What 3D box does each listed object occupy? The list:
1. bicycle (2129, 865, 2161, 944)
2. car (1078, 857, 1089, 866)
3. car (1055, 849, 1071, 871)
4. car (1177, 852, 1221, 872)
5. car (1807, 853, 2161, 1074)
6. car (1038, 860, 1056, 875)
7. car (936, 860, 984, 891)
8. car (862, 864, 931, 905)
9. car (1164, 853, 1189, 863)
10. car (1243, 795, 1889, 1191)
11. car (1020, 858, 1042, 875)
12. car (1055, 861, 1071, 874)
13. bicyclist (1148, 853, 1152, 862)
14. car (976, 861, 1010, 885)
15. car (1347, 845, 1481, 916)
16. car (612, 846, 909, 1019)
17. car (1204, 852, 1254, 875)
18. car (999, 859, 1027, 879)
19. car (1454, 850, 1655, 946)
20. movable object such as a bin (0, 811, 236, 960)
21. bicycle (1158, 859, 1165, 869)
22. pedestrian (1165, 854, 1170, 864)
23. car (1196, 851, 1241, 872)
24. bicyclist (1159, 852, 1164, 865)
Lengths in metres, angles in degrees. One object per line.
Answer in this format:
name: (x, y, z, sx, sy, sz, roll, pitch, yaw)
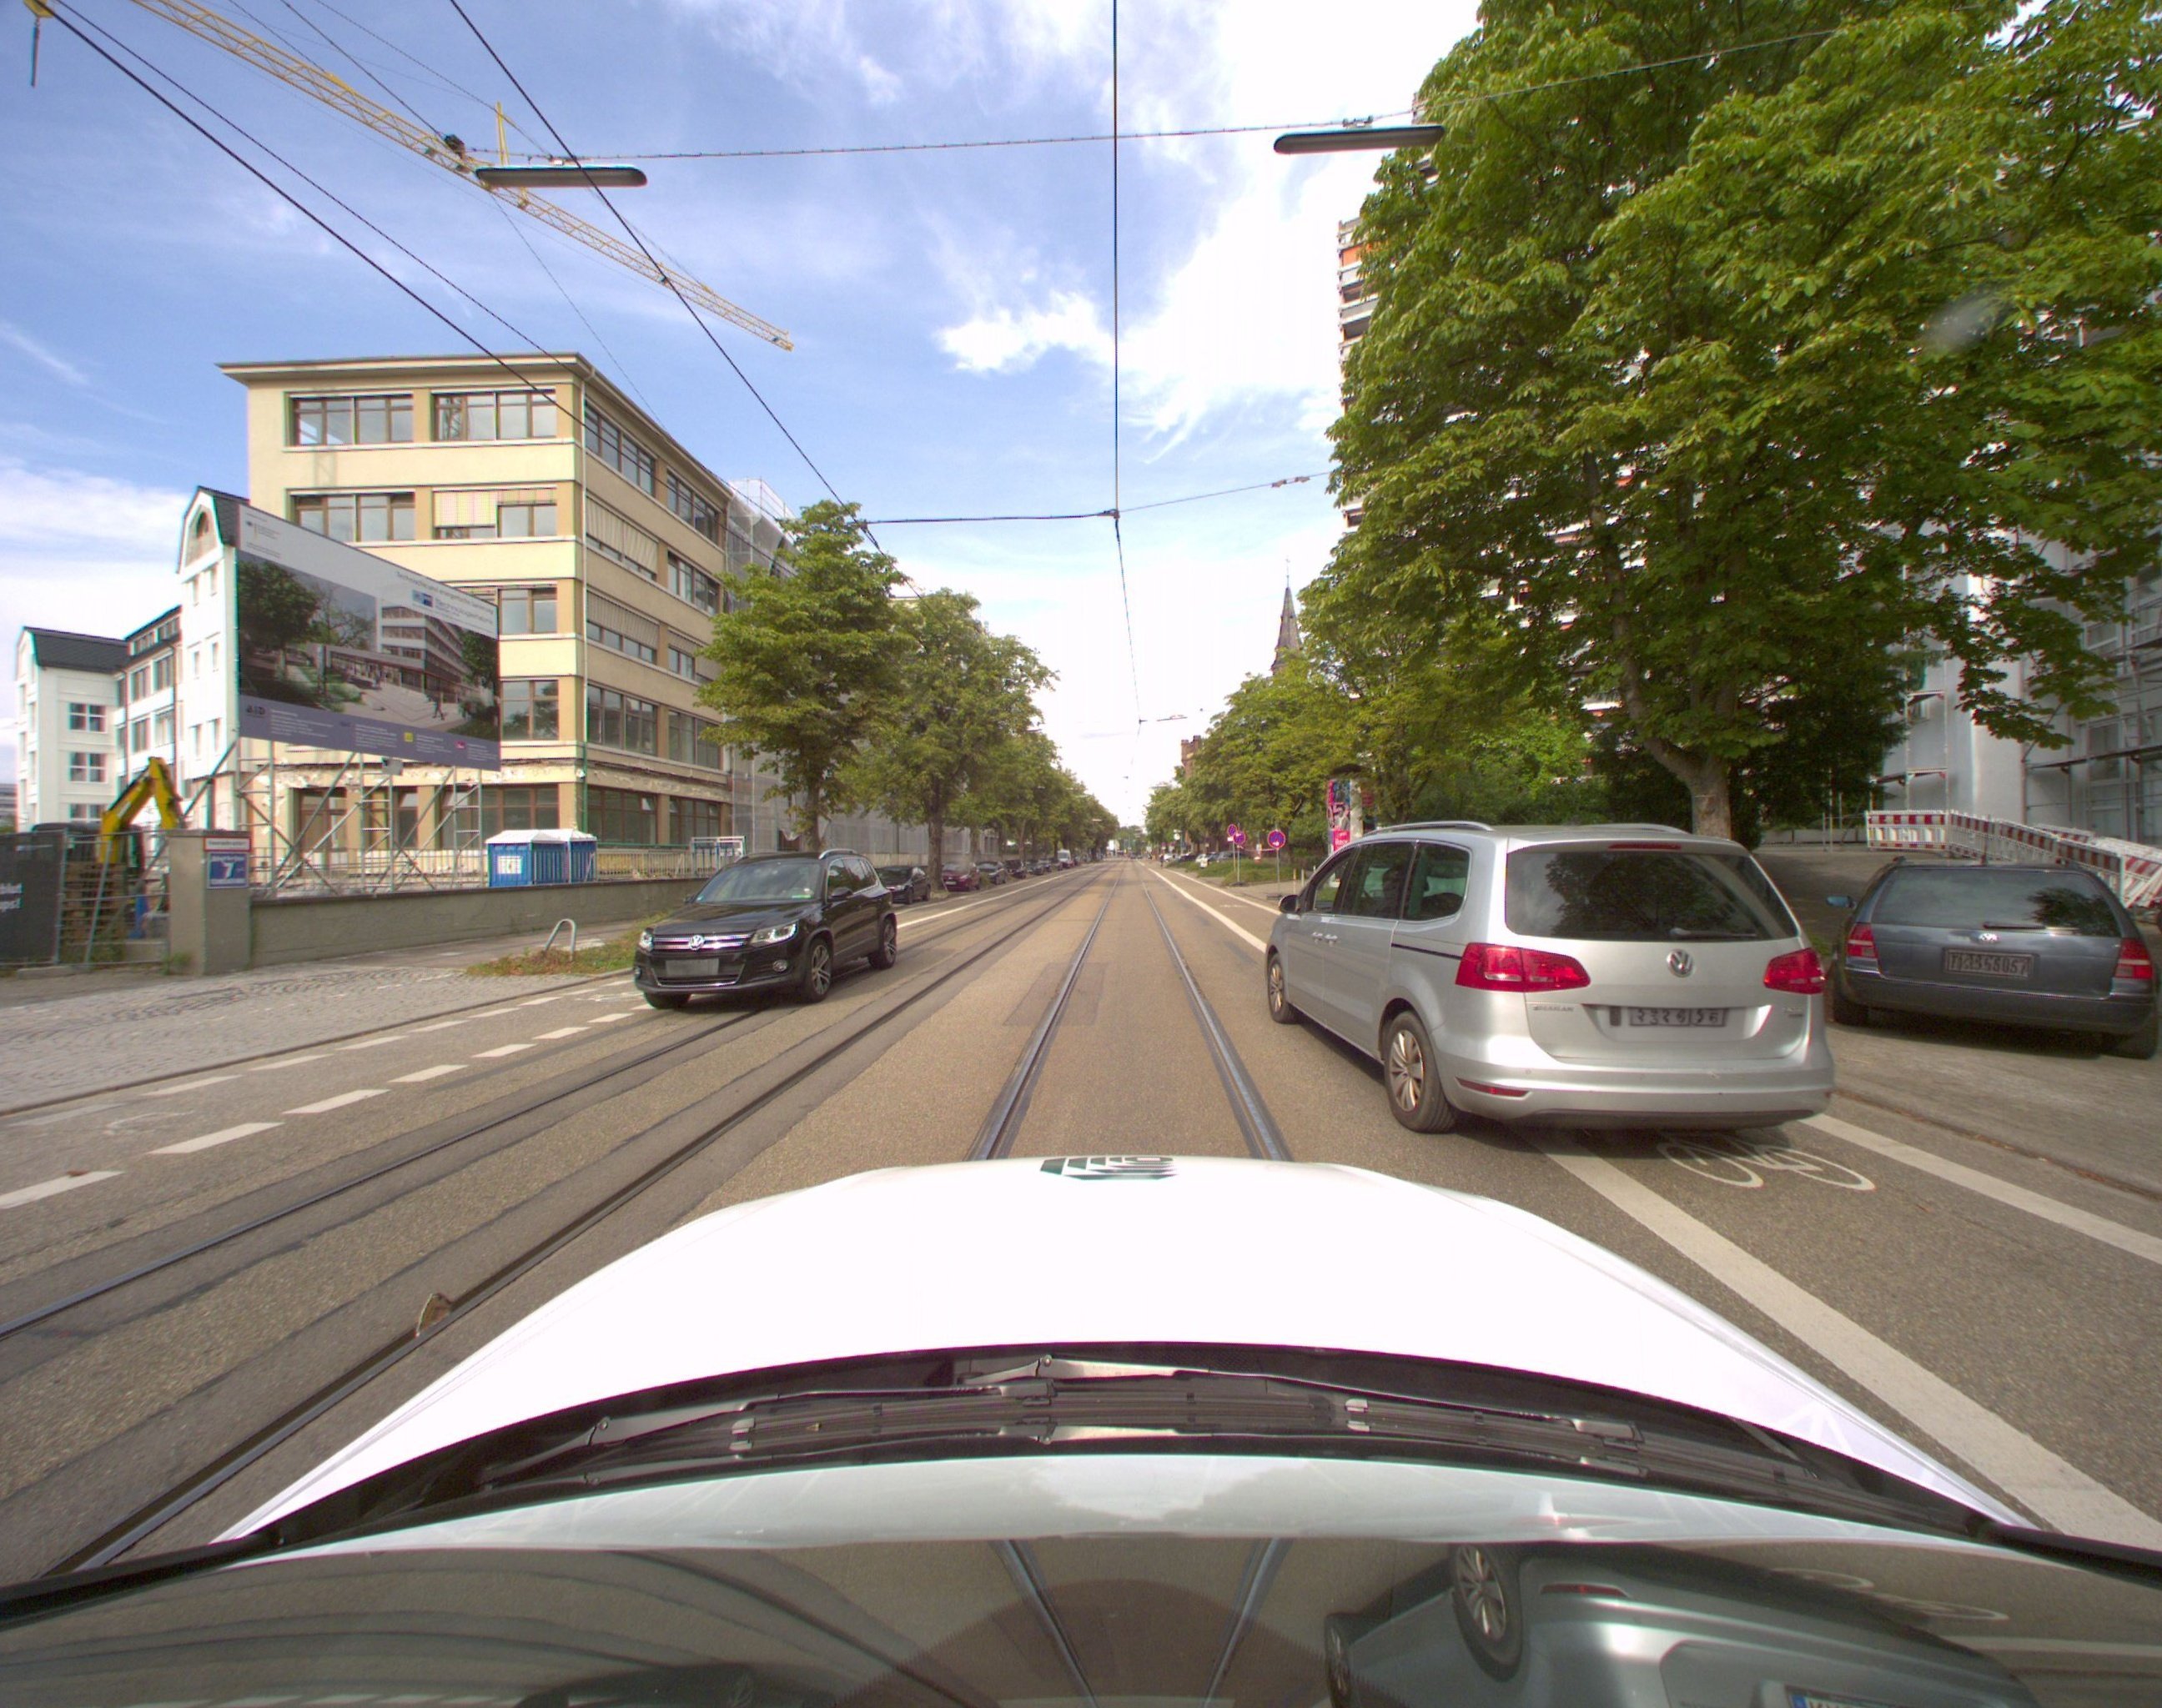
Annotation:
bicycle: (15.213, 0.670, 10.526, 1.952, 1.043, 0.598, -1, 0, 40)
car: (0.473, 1.119, 129.927, 1.584, 1.402, 3.553, 0, 0, 3)
car: (-2.265, 0.750, 104.565, 1.714, 2.704, 5.471, 0, 0, 1)
car: (9.858, 0.671, 68.109, 3.667, 1.602, 1.662, 0, -1, -43)
car: (7.938, 0.719, 7.301, 4.194, 1.415, 1.794, 0, -1, -44)
car: (-3.353, 1.351, 81.019, 1.585, 1.402, 3.963, 0, 0, 1)
car: (-6.049, 1.047, 41.036, 1.629, 1.496, 3.965, 0, 0, 2)
car: (-6.811, 1.086, 30.391, 1.585, 1.402, 3.963, 0, 0, 1)
car: (16.679, 0.647, 142.175, 3.977, 1.693, 1.998, -1, 0, -3)
car: (2.593, 0.595, 5.866, 1.807, 1.701, 4.614, -1, 0, -2)
car: (-4.289, 1.064, 70.676, 1.585, 1.402, 3.963, 0, 0, 1)
car: (-2.020, 1.444, 91.176, 1.585, 1.402, 3.963, 0, 0, 1)
bicyclist: (11.768, 0.564, 138.280, 0.656, 1.496, 0.930, -1, 0, 4)
car: (-5.374, 1.130, 50.158, 1.585, 1.402, 3.963, 0, 0, 1)
car: (8.275, 0.601, 20.113, 3.667, 1.602, 1.662, 0, -1, -43)
car: (-3.585, 0.765, 10.103, 1.725, 1.628, 4.381, -2, 0, 2)
car: (10.751, 0.703, 59.136, 3.667, 1.602, 1.662, 0, -1, -43)
car: (-5.025, 1.116, 60.537, 1.585, 1.402, 3.963, 0, 0, 1)
car: (8.167, 0.668, 13.964, 3.663, 1.419, 1.663, 0, -1, -37)
movable object such as a bin: (-18.192, 0.542, 14.933, 3.030, 2.443, 2.507, -1, -1, 13)
bicycle: (9.126, 1.114, 92.297, 0.590, 1.043, 1.978, -1, 0, 1)
pedestrian: (15.122, 0.871, 142.161, 0.741, 1.790, 0.734, -1, -1, 18)
car: (11.138, 0.582, 65.911, 3.667, 1.602, 1.662, 0, -1, -43)
bicyclist: (9.124, 0.559, 92.302, 0.590, 1.459, 0.875, -1, 0, 1)
